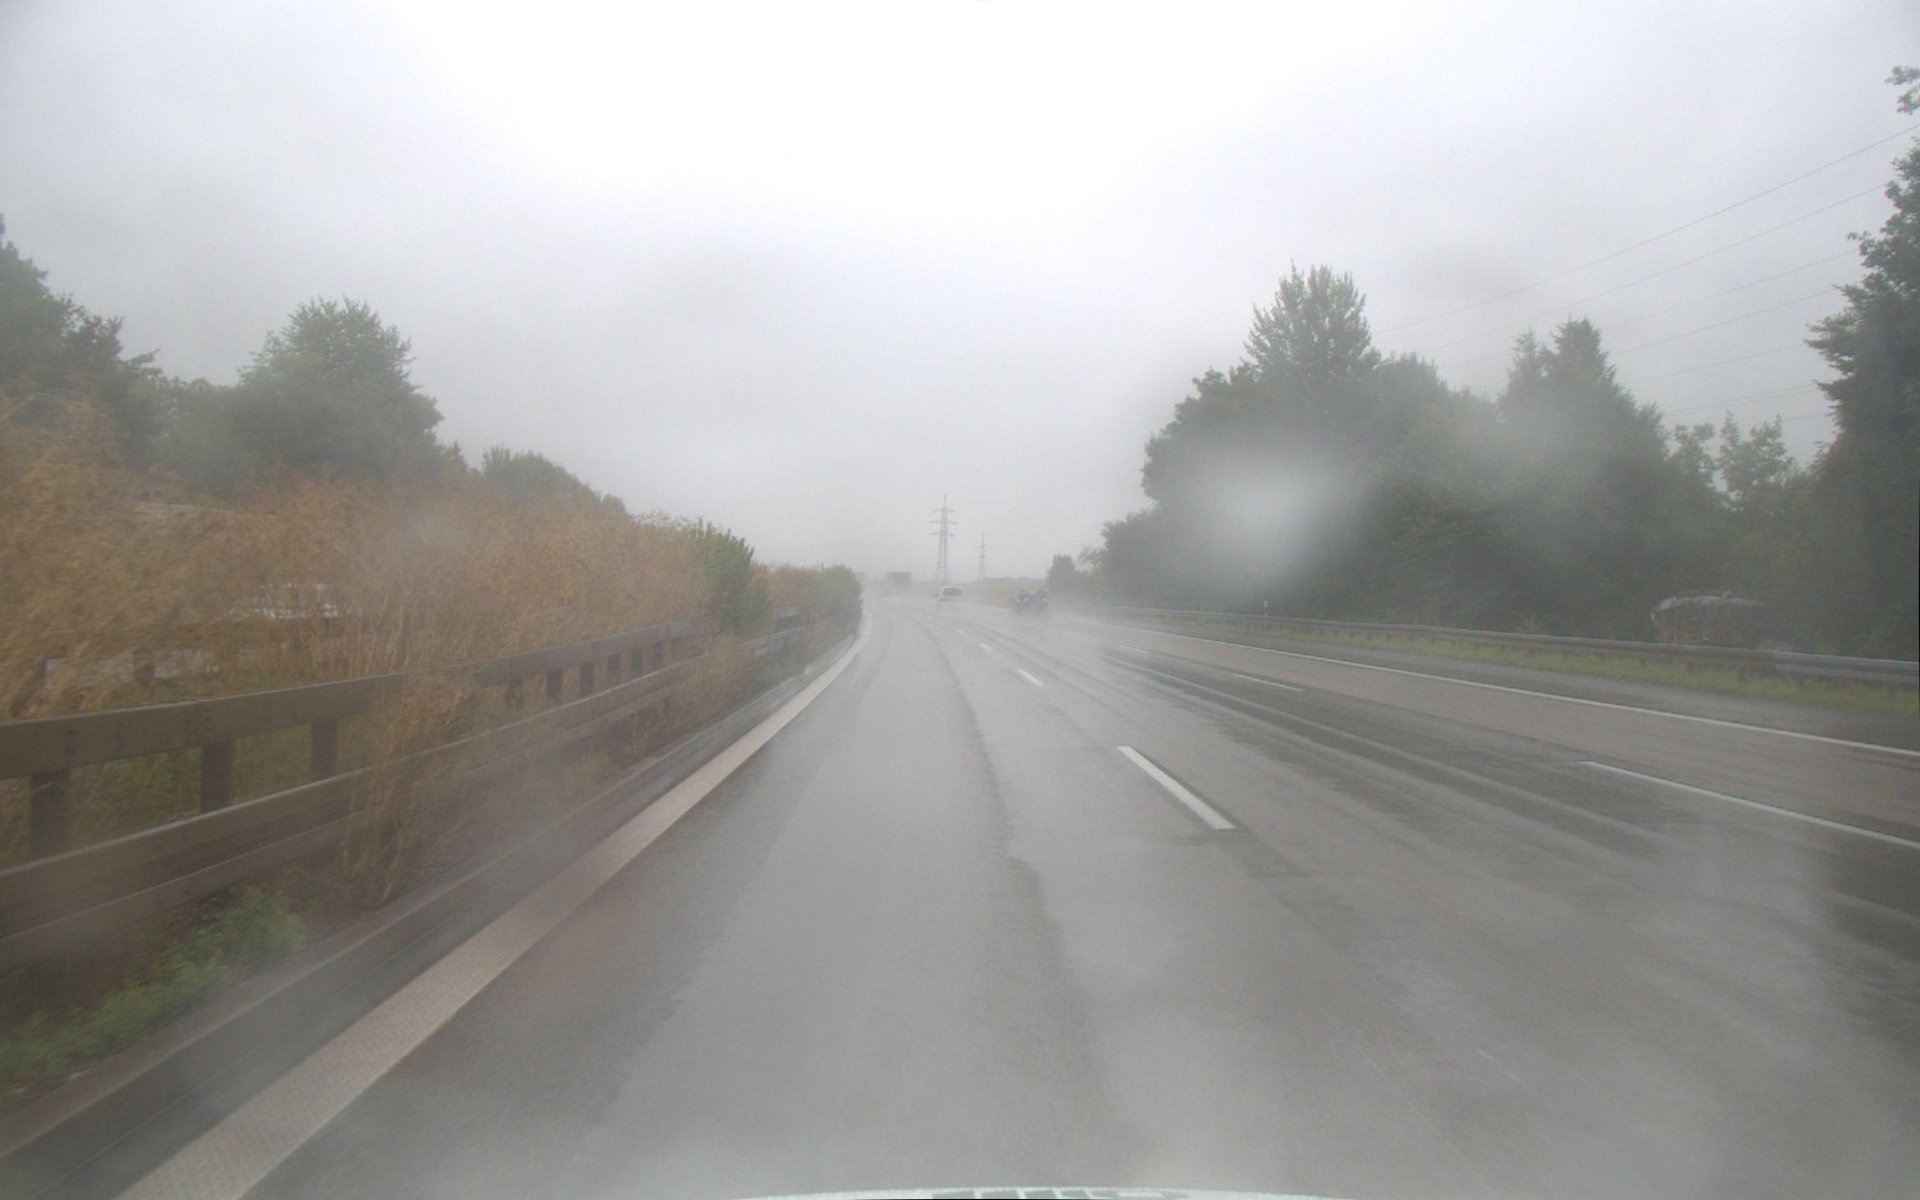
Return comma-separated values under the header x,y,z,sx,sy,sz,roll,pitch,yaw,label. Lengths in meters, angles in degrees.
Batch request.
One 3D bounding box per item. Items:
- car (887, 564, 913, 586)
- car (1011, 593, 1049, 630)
x,y,z,sx,sy,sz,roll,pitch,yaw,label
-8.973,-3.694,246.090,3.139,3.248,7.246,1,0,-7,car
4.264,0.681,101.212,1.771,2.196,3.996,1,0,-5,car
